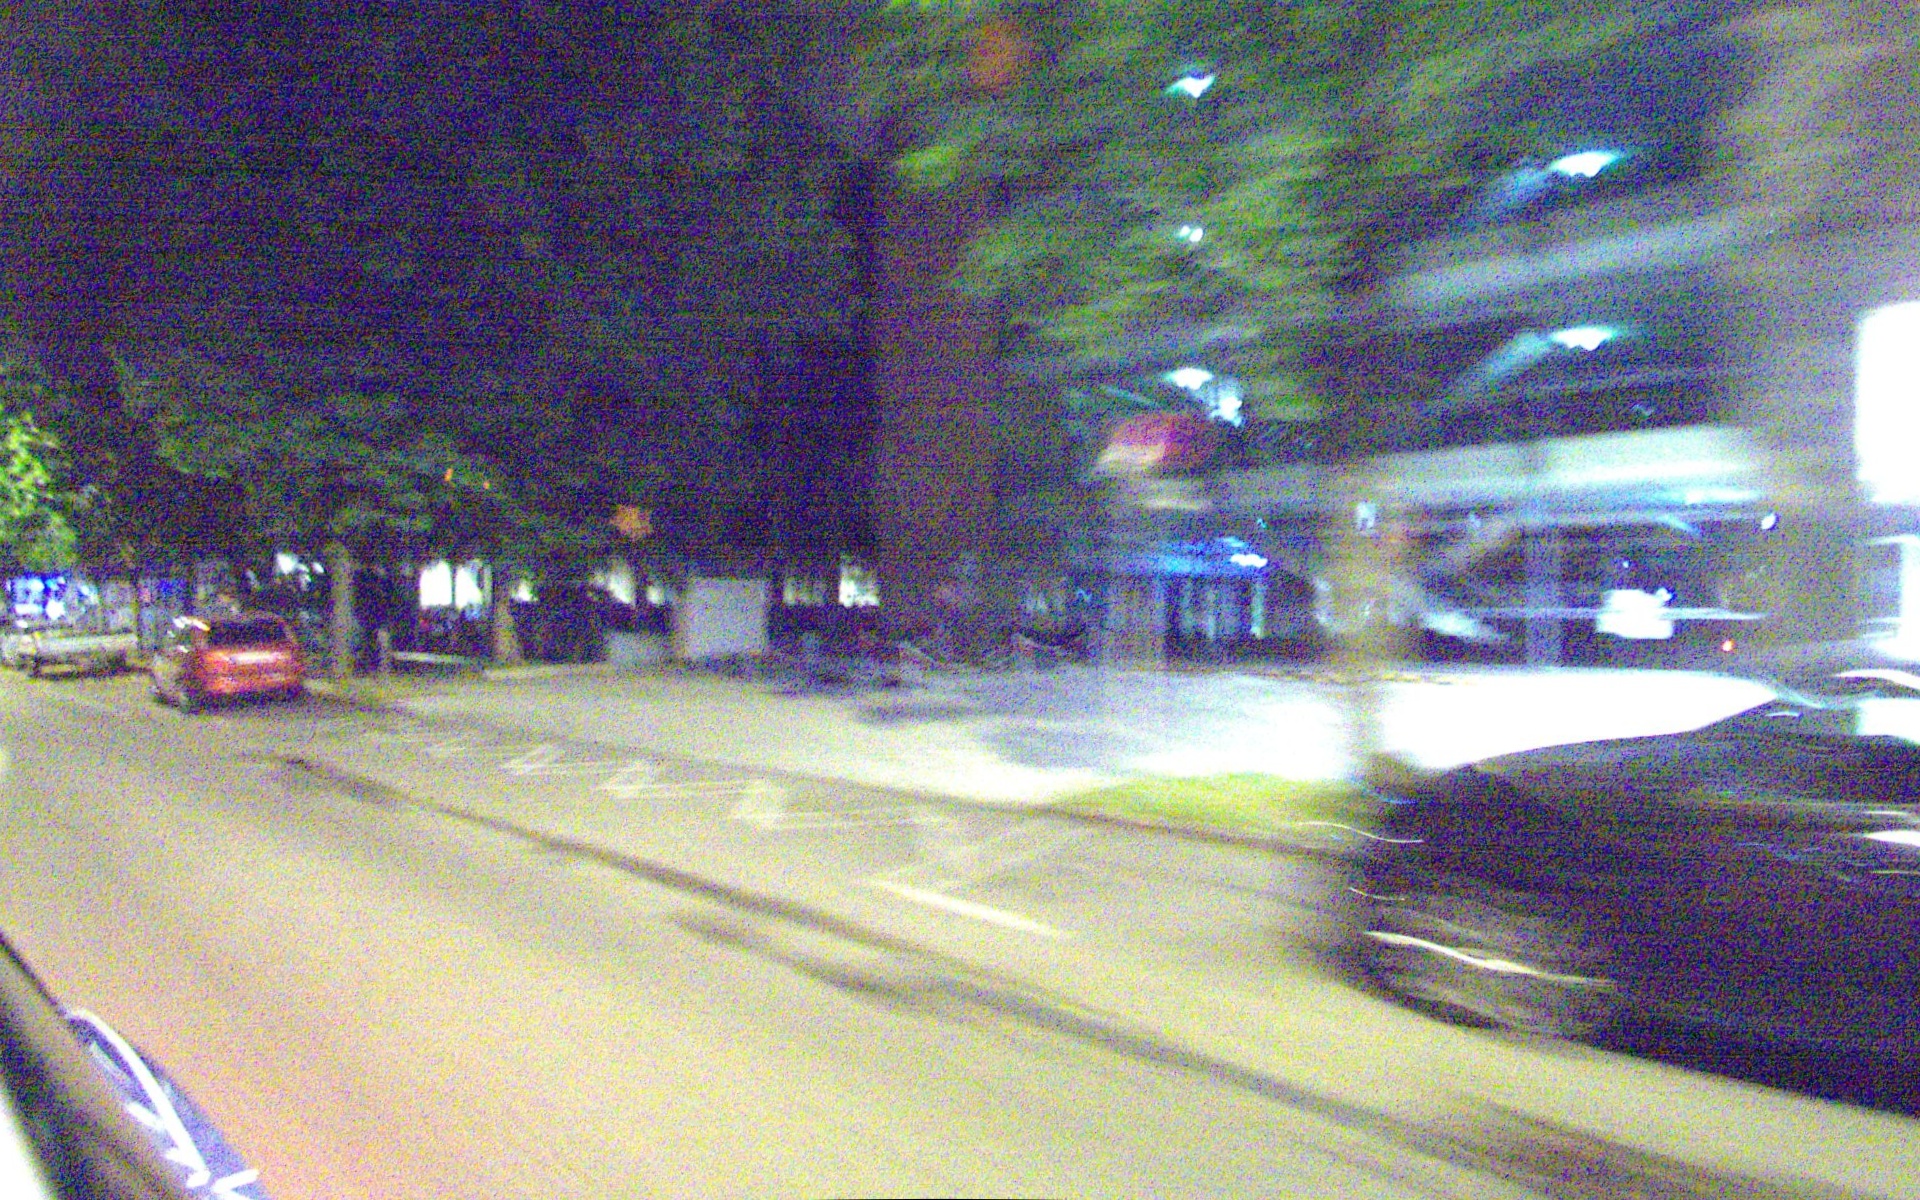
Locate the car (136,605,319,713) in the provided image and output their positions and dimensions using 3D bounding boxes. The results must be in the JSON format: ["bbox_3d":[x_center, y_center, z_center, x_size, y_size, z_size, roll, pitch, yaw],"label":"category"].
[{"bbox_3d":[-13.073,0.974,17.982,4.072,1.610,1.803,-1,1,43],"label":"car"}]

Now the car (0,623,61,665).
[{"bbox_3d":[-34.243,1.548,36.821,4.631,1.422,1.687,-1,-1,41],"label":"car"}]

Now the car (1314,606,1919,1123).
[{"bbox_3d":[3.436,0.773,3.489,3.825,1.444,1.683,-1,1,40],"label":"car"}]

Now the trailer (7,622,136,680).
[{"bbox_3d":[-24.637,1.326,27.982,5.434,1.345,2.088,-1,1,43],"label":"trailer"}]

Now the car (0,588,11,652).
[{"bbox_3d":[-46.514,0.959,47.585,4.906,2.931,2.157,-1,0,40],"label":"car"}]

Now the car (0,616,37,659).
[{"bbox_3d":[-38.223,1.461,40.164,4.294,1.618,1.725,-1,0,39],"label":"car"}]

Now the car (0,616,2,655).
[{"bbox_3d":[-42.243,1.529,43.193,4.115,1.619,1.723,-1,-1,43],"label":"car"}]

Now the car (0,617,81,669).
[{"bbox_3d":[-30.438,1.366,33.246,4.202,1.513,1.699,-1,1,40],"label":"car"}]
